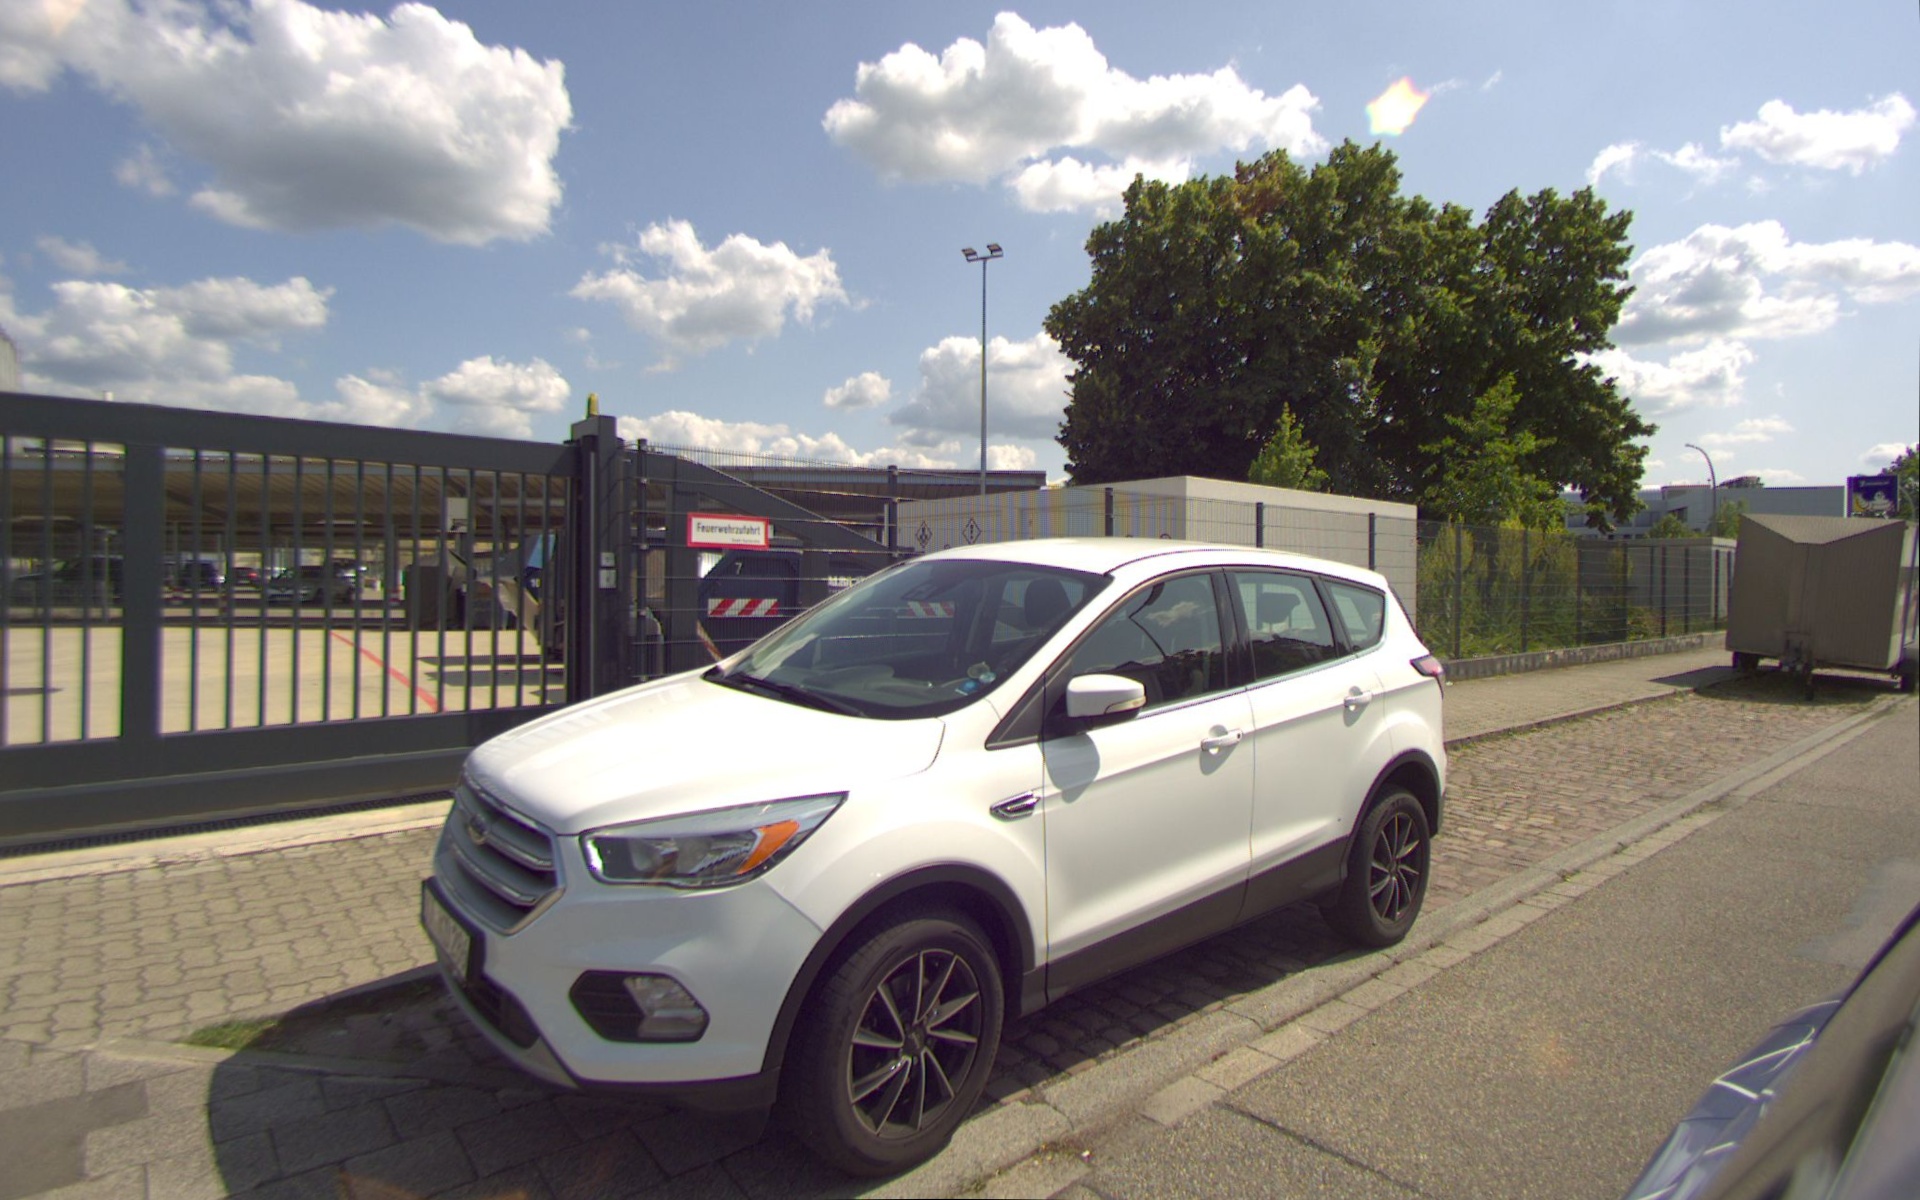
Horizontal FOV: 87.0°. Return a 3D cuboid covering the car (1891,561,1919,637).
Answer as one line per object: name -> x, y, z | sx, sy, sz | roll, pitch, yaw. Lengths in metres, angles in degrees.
car -> 28.073, -0.075, 28.575 | 5.551, 2.038, 1.997 | -1, 2, -41

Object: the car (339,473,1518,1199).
car -> 0.299, 0.535, 4.130 | 4.598, 1.714, 1.940 | -1, 4, -41

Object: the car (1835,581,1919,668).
car -> 18.930, 0.436, 20.168 | 4.001, 1.478, 1.694 | -2, 5, -42

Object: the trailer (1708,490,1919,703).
trailer -> 14.064, -0.191, 16.023 | 6.115, 2.769, 2.209 | -2, 5, -41
